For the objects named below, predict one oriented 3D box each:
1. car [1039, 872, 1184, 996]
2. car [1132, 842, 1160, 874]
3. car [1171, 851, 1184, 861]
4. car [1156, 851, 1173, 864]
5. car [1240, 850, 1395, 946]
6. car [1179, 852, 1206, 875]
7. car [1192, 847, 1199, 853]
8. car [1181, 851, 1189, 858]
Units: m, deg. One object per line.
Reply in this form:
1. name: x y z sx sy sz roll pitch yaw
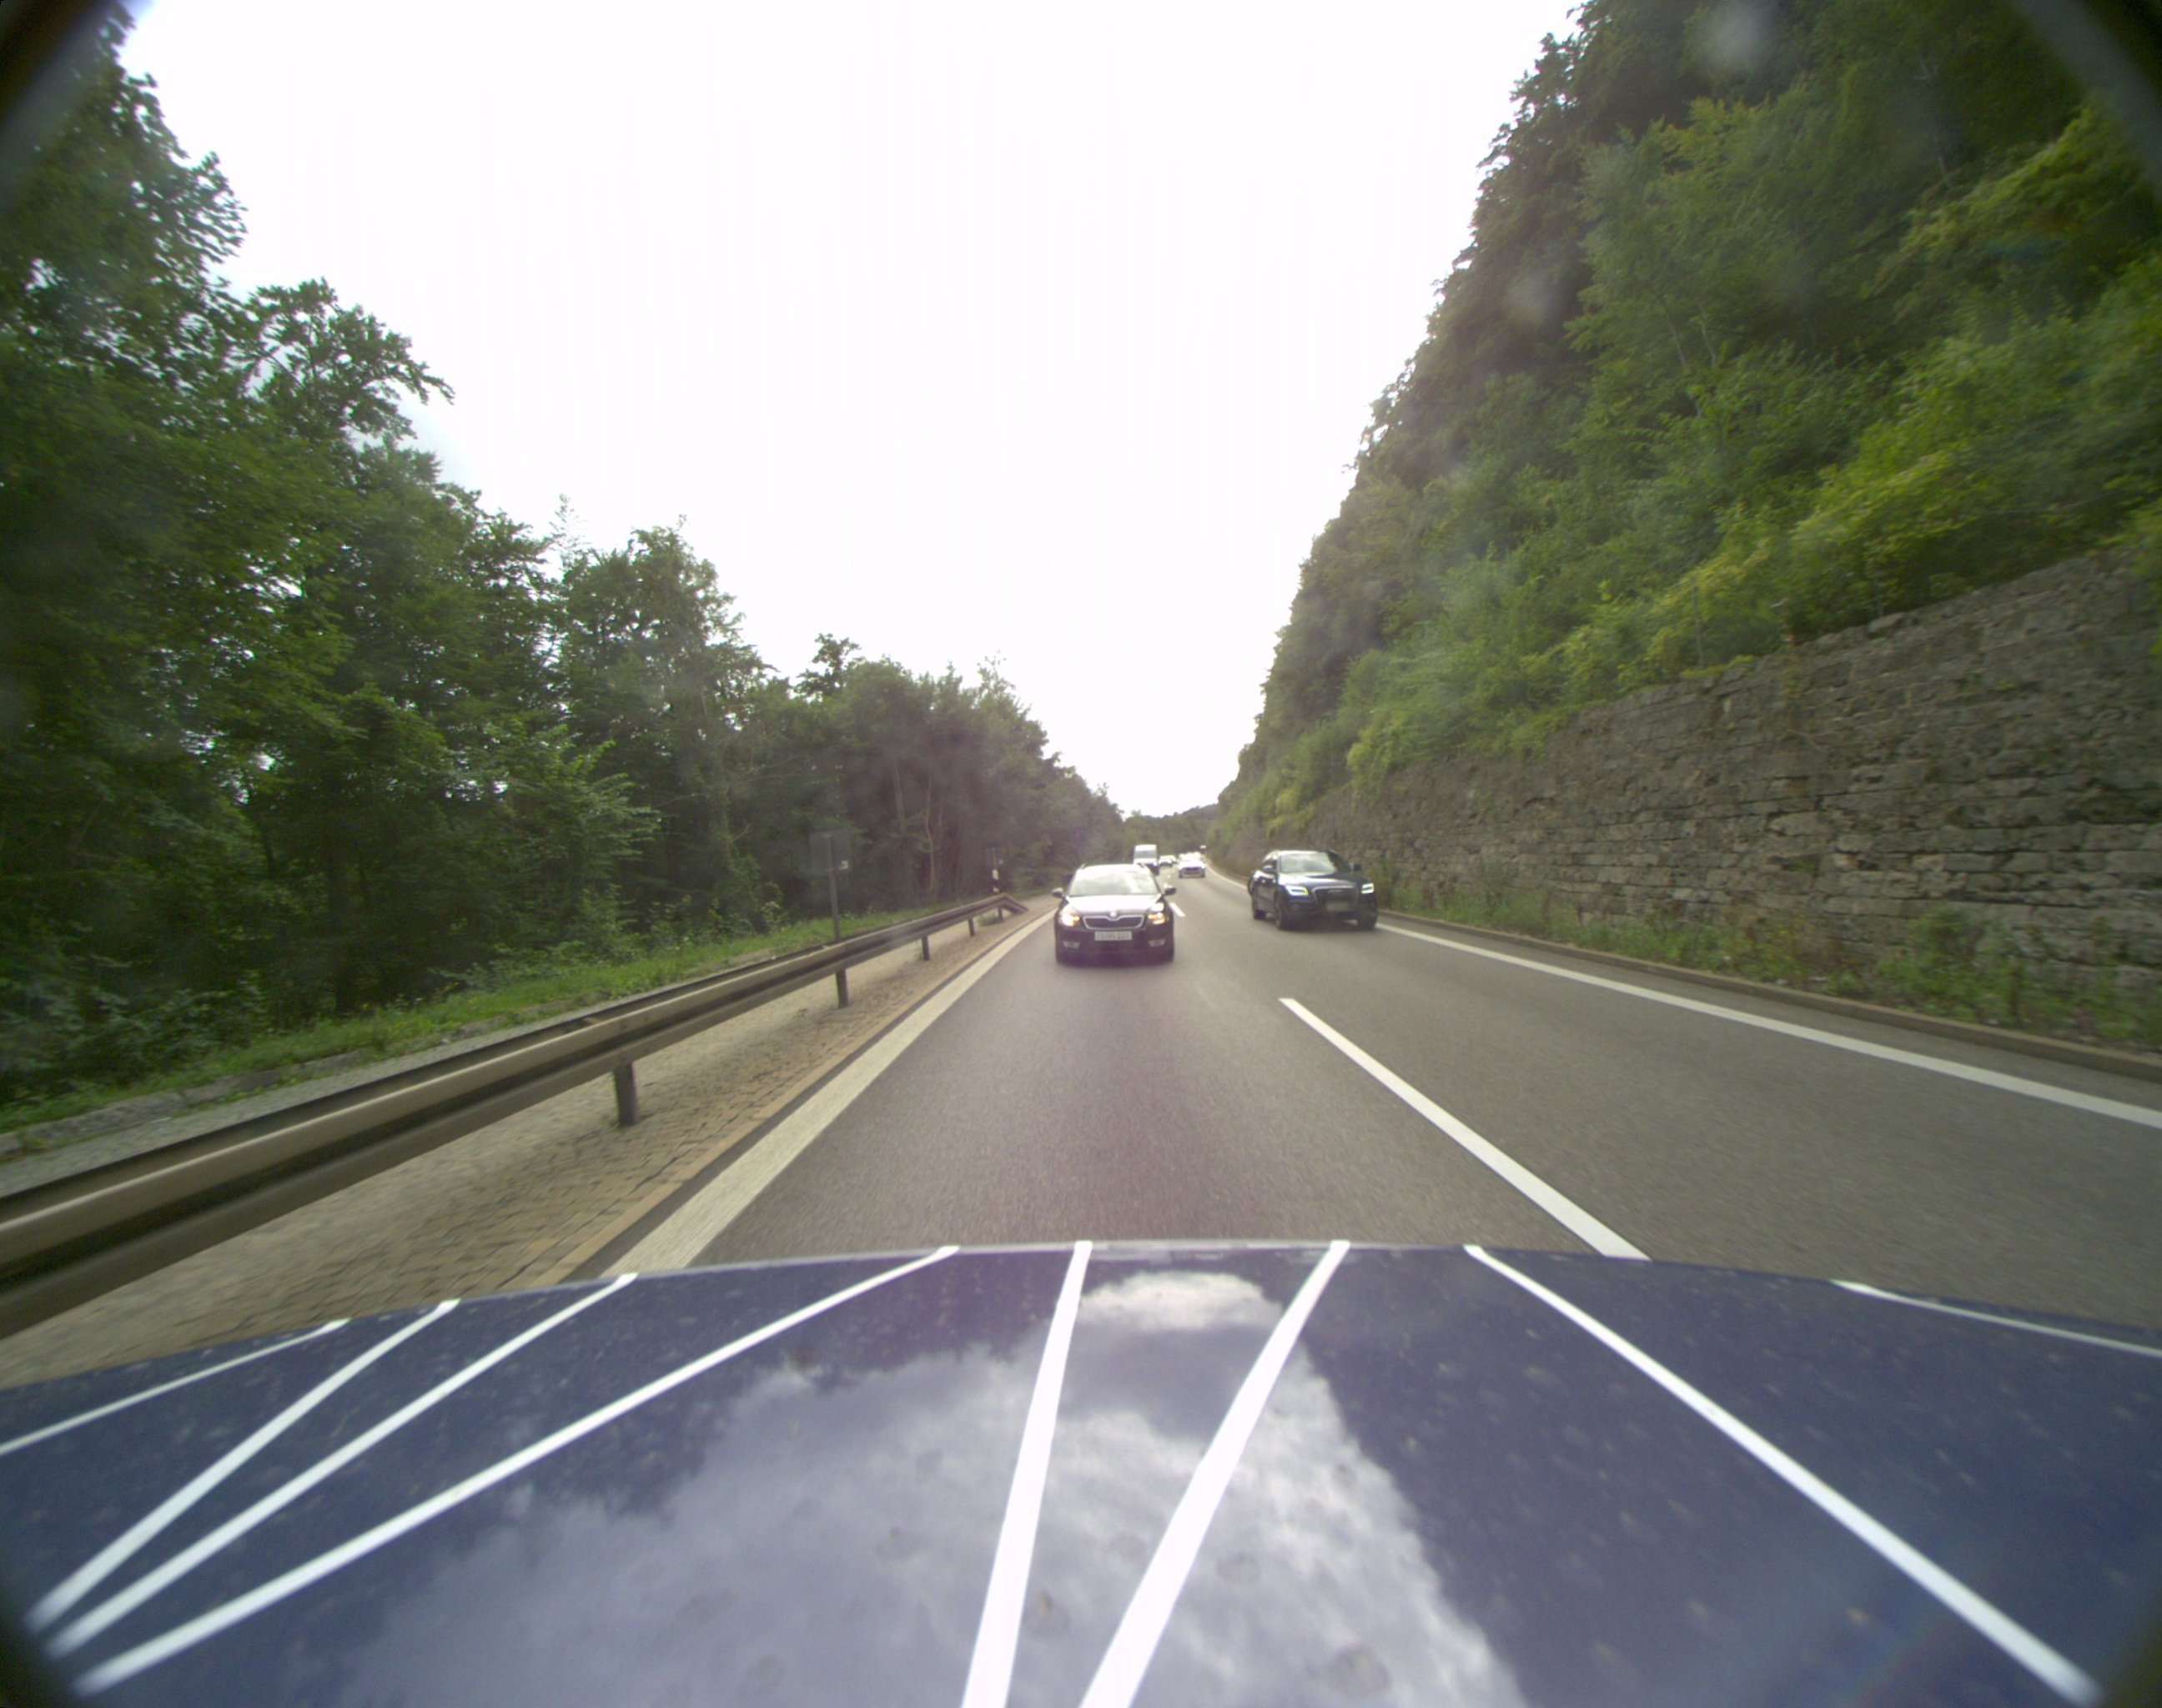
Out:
1. car: 0.456 0.983 11.048 1.638 1.384 4.500 -2 -1 3
2. car: 5.586 0.388 64.642 2.098 2.547 5.923 -1 -1 7
3. car: 16.097 0.316 126.113 1.821 1.546 4.004 -2 -1 11
4. car: 10.696 0.423 96.842 1.822 1.546 4.004 -2 -1 11
5. car: 4.990 0.814 16.985 1.975 1.584 5.586 -4 1 4
6. car: 7.992 0.713 54.343 1.822 1.546 4.003 -2 -1 8
7. car: 32.703 -1.141 216.749 1.821 1.546 4.004 -2 -1 11
8. car: 27.403 0.123 199.486 1.821 1.546 4.004 -2 -1 11
